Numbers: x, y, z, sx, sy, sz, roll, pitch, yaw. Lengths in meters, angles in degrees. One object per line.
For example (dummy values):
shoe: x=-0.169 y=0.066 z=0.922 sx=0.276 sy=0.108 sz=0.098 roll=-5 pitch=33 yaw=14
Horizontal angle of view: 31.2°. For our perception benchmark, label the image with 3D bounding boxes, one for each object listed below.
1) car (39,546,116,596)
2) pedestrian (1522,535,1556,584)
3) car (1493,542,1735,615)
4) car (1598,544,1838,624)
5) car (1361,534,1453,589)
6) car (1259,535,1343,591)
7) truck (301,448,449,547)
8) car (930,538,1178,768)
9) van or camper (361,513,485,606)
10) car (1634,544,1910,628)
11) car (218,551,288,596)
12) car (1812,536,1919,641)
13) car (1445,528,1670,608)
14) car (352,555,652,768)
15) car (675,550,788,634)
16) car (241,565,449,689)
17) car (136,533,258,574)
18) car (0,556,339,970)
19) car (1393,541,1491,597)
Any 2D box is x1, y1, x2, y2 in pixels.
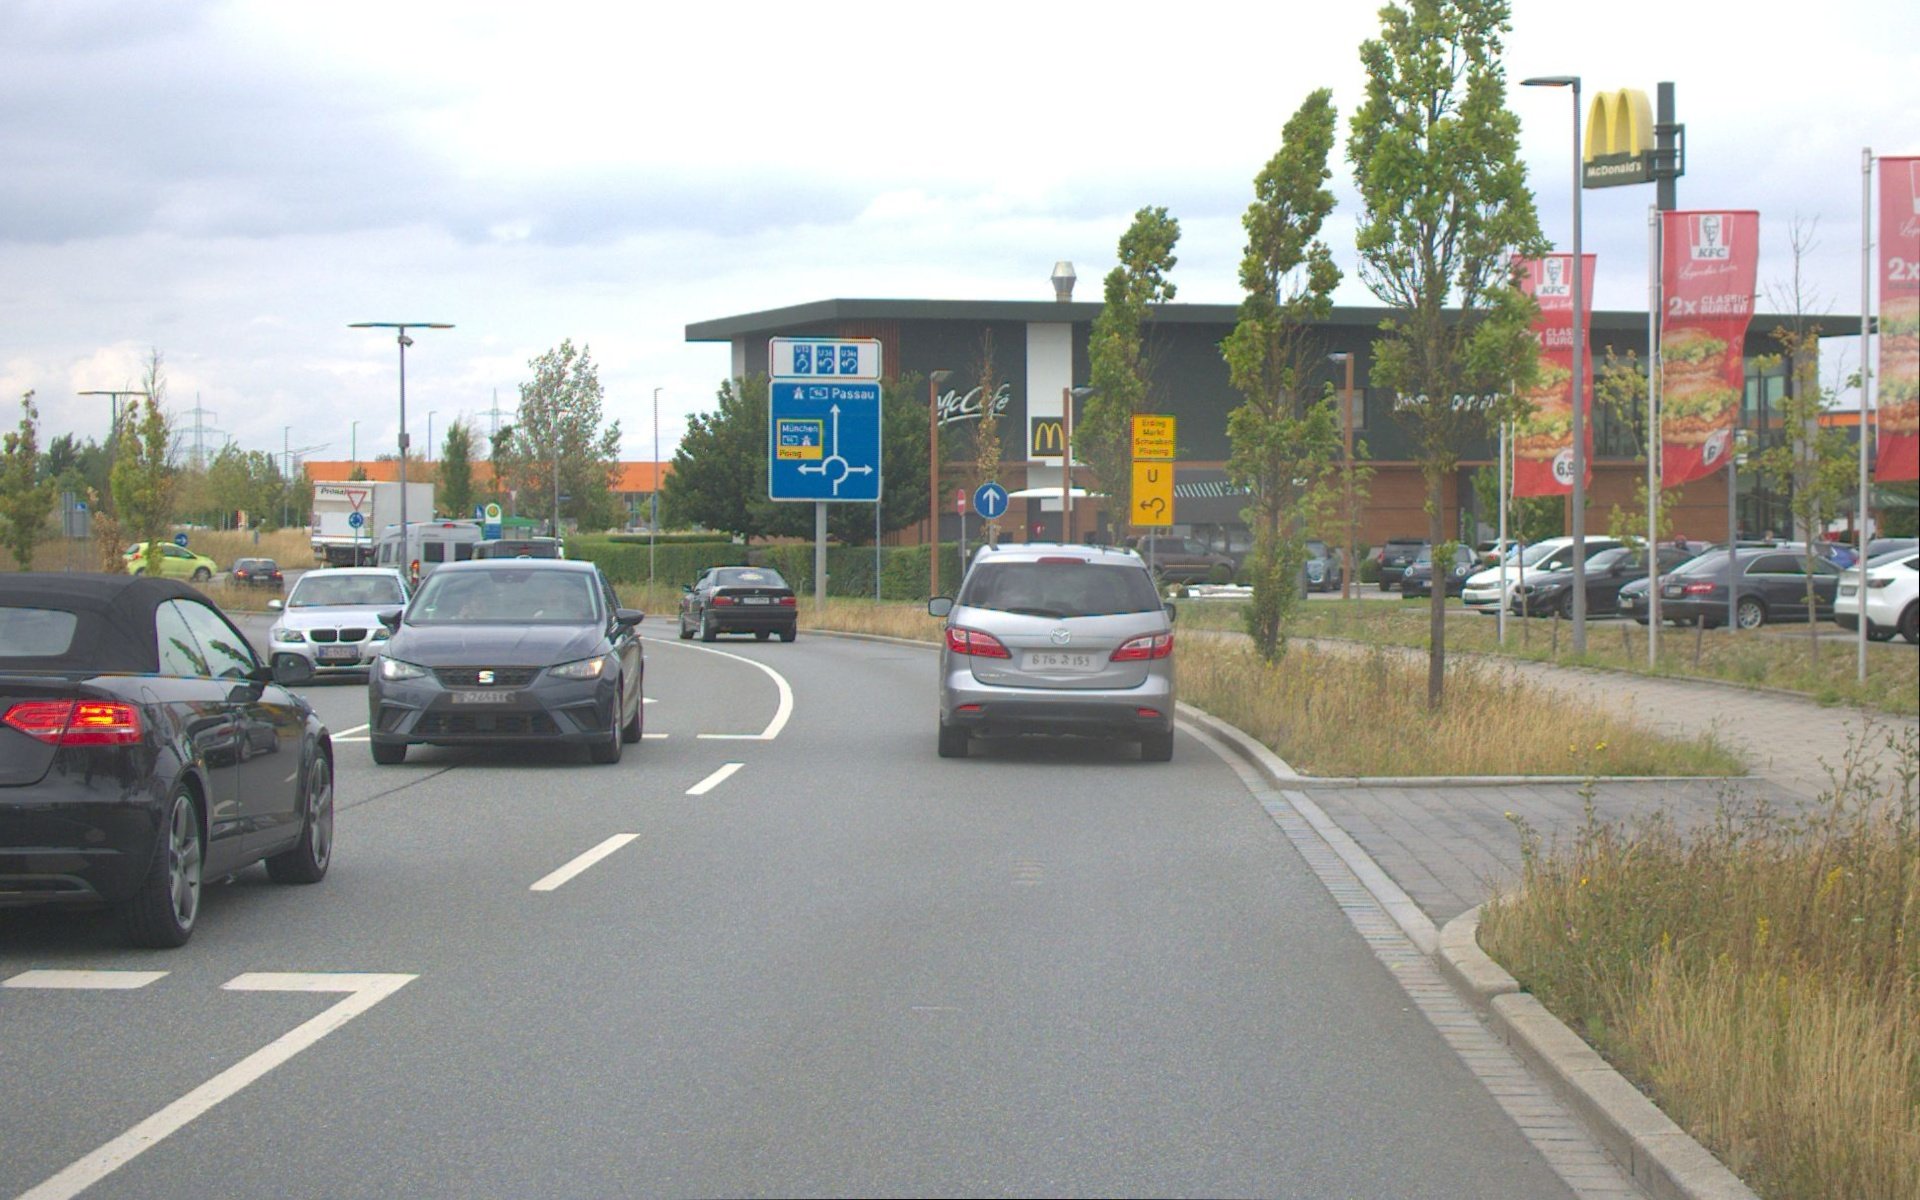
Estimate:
car: x=-31.406 y=-1.021 z=122.252 sx=1.798 sy=1.663 sz=4.327 roll=-3 pitch=2 yaw=-25
pedestrian: x=16.949 y=-1.199 z=100.648 sx=0.770 sy=1.434 sz=0.622 roll=0 pitch=1 yaw=37
car: x=13.505 y=-0.468 z=71.063 sx=4.466 sy=1.431 sz=2.074 roll=-1 pitch=1 yaw=-18
car: x=14.584 y=-0.327 z=66.225 sx=4.082 sy=1.433 sz=1.943 roll=-1 pitch=2 yaw=-17
car: x=14.262 y=-1.226 z=109.411 sx=2.118 sy=1.711 sz=4.227 roll=1 pitch=1 yaw=19
car: x=10.711 y=-1.181 z=107.658 sx=1.995 sy=1.711 sz=3.997 roll=1 pitch=1 yaw=15
truck: x=-24.021 y=-4.172 z=141.762 sx=3.134 sy=3.893 sz=9.332 roll=0 pitch=1 yaw=9
car: x=0.695 y=0.344 z=26.255 sx=1.730 sy=1.594 sz=3.807 roll=1 pitch=1 yaw=1
van or camper: x=-14.883 y=-1.133 z=95.076 sx=2.302 sy=2.497 sz=5.207 roll=0 pitch=1 yaw=-22
car: x=14.927 y=-0.284 z=63.265 sx=4.516 sy=1.464 sz=2.033 roll=-1 pitch=1 yaw=-15
car: x=-24.582 y=-0.930 z=119.463 sx=1.993 sy=1.510 sz=4.001 roll=-1 pitch=1 yaw=-17
car: x=16.583 y=-0.247 z=56.404 sx=4.560 sy=1.639 sz=2.089 roll=-2 pitch=1 yaw=-10
car: x=12.760 y=-0.699 z=73.471 sx=4.346 sy=1.634 sz=1.938 roll=-1 pitch=1 yaw=-21
car: x=-3.276 y=0.387 z=25.310 sx=1.829 sy=1.415 sz=4.246 roll=0 pitch=1 yaw=-3
car: x=-4.152 y=-0.179 z=61.943 sx=1.844 sy=1.413 sz=4.226 roll=0 pitch=1 yaw=-6
car: x=-7.674 y=0.297 z=43.313 sx=1.836 sy=1.412 sz=4.500 roll=-1 pitch=1 yaw=-1
car: x=-28.586 y=-1.758 z=128.883 sx=3.988 sy=1.510 sz=2.000 roll=-1 pitch=1 yaw=-37
car: x=-3.778 y=0.553 z=14.024 sx=1.769 sy=1.433 sz=4.231 roll=0 pitch=0 yaw=-1
car: x=11.899 y=-0.773 z=84.716 sx=1.812 sy=1.308 sz=3.847 roll=0 pitch=1 yaw=17
